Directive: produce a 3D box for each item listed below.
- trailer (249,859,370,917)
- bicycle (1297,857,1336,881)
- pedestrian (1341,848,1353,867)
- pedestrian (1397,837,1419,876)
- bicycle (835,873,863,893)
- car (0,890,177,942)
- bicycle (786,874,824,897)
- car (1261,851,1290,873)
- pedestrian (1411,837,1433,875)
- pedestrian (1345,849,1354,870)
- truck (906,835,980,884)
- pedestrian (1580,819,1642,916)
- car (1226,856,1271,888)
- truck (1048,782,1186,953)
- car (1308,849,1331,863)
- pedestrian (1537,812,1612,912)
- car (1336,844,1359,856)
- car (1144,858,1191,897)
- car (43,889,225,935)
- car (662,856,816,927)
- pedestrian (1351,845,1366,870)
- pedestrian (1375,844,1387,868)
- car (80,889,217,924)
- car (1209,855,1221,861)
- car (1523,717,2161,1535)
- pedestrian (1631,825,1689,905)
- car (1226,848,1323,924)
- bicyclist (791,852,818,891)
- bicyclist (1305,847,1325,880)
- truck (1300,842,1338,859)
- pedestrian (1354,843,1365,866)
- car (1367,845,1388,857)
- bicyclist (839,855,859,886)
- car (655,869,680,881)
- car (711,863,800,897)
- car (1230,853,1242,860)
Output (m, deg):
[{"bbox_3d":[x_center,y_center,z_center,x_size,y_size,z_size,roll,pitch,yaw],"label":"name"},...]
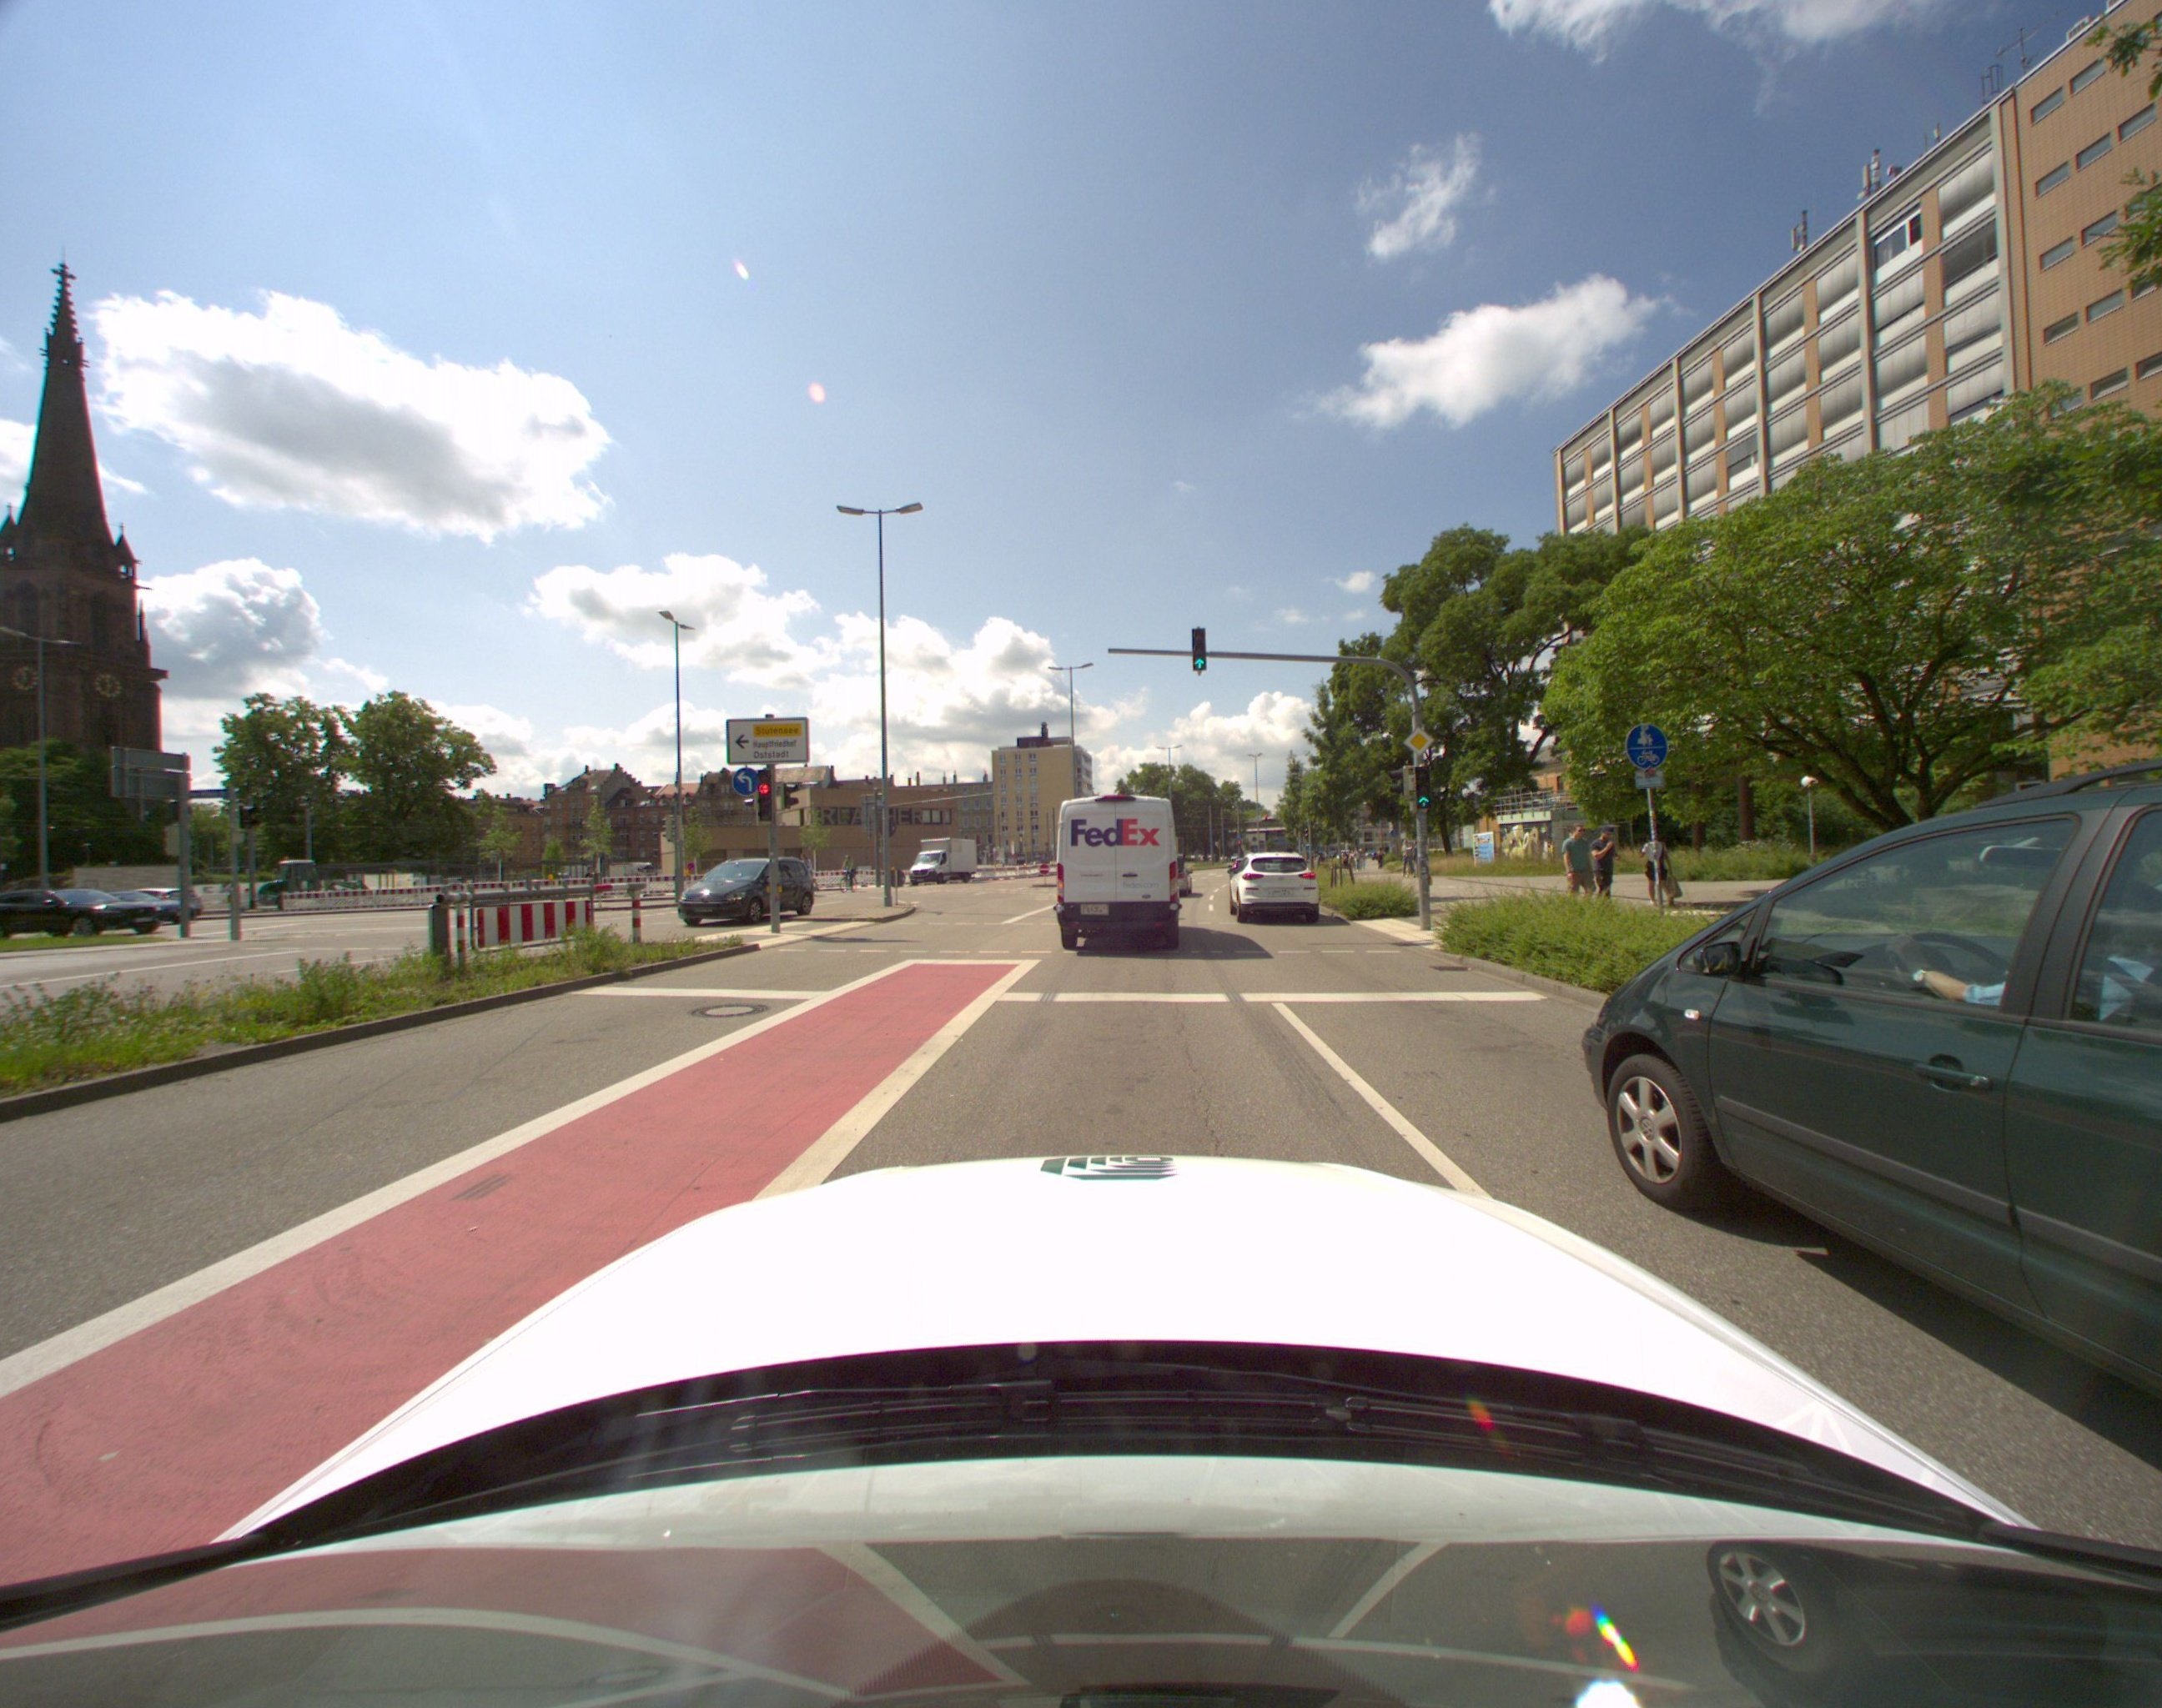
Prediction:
[{"bbox_3d":[-40.837,1.723,43.211,1.974,2.914,4.393,-1,-1,37],"label":"trailer"},{"bbox_3d":[12.154,0.773,42.009,1.799,1.050,0.593,-5,-2,7],"label":"bicycle"},{"bbox_3d":[22.304,0.277,68.242,0.752,1.590,0.762,-1,-1,3],"label":"pedestrian"},{"bbox_3d":[15.647,0.123,38.983,0.745,1.802,0.611,-3,0,8],"label":"pedestrian"},{"bbox_3d":[-11.310,1.409,39.738,0.563,0.889,1.749,-2,0,12],"label":"bicycle"},{"bbox_3d":[-33.939,2.090,27.532,4.481,1.486,2.000,-2,0,0],"label":"car"},{"bbox_3d":[-11.934,1.343,35.311,0.772,0.889,2.111,-2,0,4],"label":"bicycle"},{"bbox_3d":[15.506,0.587,64.884,1.866,1.641,3.975,-2,0,18],"label":"car"},{"bbox_3d":[16.495,0.091,39.444,0.745,1.752,0.611,-3,0,8],"label":"pedestrian"},{"bbox_3d":[21.157,0.456,64.200,0.583,1.626,0.729,-1,-1,9],"label":"pedestrian"},{"bbox_3d":[-9.238,0.425,55.295,1.978,3.068,7.360,-1,-1,16],"label":"truck"},{"bbox_3d":[9.967,0.247,15.320,0.665,1.746,0.608,-3,0,-5],"label":"pedestrian"},{"bbox_3d":[8.181,0.860,40.041,1.904,1.420,3.928,-2,0,9],"label":"car"},{"bbox_3d":[0.849,0.239,15.689,2.126,2.640,5.926,-1,-1,6],"label":"truck"},{"bbox_3d":[29.582,0.257,100.862,1.863,1.641,3.981,-2,0,28],"label":"car"},{"bbox_3d":[9.228,0.150,15.271,0.748,1.777,0.880,-3,0,-5],"label":"pedestrian"},{"bbox_3d":[37.625,-0.549,114.818,1.863,1.641,3.982,-2,0,36],"label":"car"},{"bbox_3d":[3.591,0.909,33.232,1.732,1.391,4.188,-2,0,7],"label":"car"},{"bbox_3d":[-37.804,2.293,32.611,4.644,1.486,1.997,-2,0,-4],"label":"car"},{"bbox_3d":[-8.688,0.893,21.141,1.871,1.623,4.162,-1,0,6],"label":"car"},{"bbox_3d":[20.904,0.237,61.332,0.753,1.821,0.781,-5,-1,3],"label":"pedestrian"},{"bbox_3d":[23.343,0.155,63.299,0.751,1.821,0.676,-1,-1,10],"label":"pedestrian"},{"bbox_3d":[-42.627,2.381,37.294,3.989,1.508,2.001,-1,-1,1],"label":"car"},{"bbox_3d":[32.779,1.010,198.588,1.976,1.574,4.200,-1,-1,23],"label":"car"},{"bbox_3d":[3.190,0.575,2.157,1.787,1.723,4.451,0,0,2],"label":"car"},{"bbox_3d":[12.083,0.223,17.007,0.664,1.596,0.648,-3,0,1],"label":"pedestrian"},{"bbox_3d":[4.701,0.711,20.316,1.871,1.641,4.241,-2,0,7],"label":"car"},{"bbox_3d":[-11.960,0.757,35.263,0.772,1.618,0.844,-2,0,4],"label":"bicyclist"},{"bbox_3d":[12.071,0.489,42.027,0.823,1.601,0.581,-4,-2,8],"label":"bicyclist"},{"bbox_3d":[44.371,-0.639,151.769,2.858,2.852,8.845,-2,0,44],"label":"truck"},{"bbox_3d":[21.889,0.057,63.985,0.751,1.821,0.640,-1,-1,9],"label":"pedestrian"},{"bbox_3d":[44.170,-0.420,121.098,1.863,1.641,3.982,-2,0,36],"label":"car"},{"bbox_3d":[-11.326,0.793,39.785,0.561,1.461,0.839,-2,0,12],"label":"bicyclist"},{"bbox_3d":[-83.626,4.167,164.882,4.085,2.343,2.004,-1,-1,7],"label":"car"},{"bbox_3d":[-16.578,1.307,41.534,3.919,1.486,1.980,-2,0,-32],"label":"car"},{"bbox_3d":[37.375,0.631,196.322,1.976,1.574,4.200,-1,-1,23],"label":"car"}]
